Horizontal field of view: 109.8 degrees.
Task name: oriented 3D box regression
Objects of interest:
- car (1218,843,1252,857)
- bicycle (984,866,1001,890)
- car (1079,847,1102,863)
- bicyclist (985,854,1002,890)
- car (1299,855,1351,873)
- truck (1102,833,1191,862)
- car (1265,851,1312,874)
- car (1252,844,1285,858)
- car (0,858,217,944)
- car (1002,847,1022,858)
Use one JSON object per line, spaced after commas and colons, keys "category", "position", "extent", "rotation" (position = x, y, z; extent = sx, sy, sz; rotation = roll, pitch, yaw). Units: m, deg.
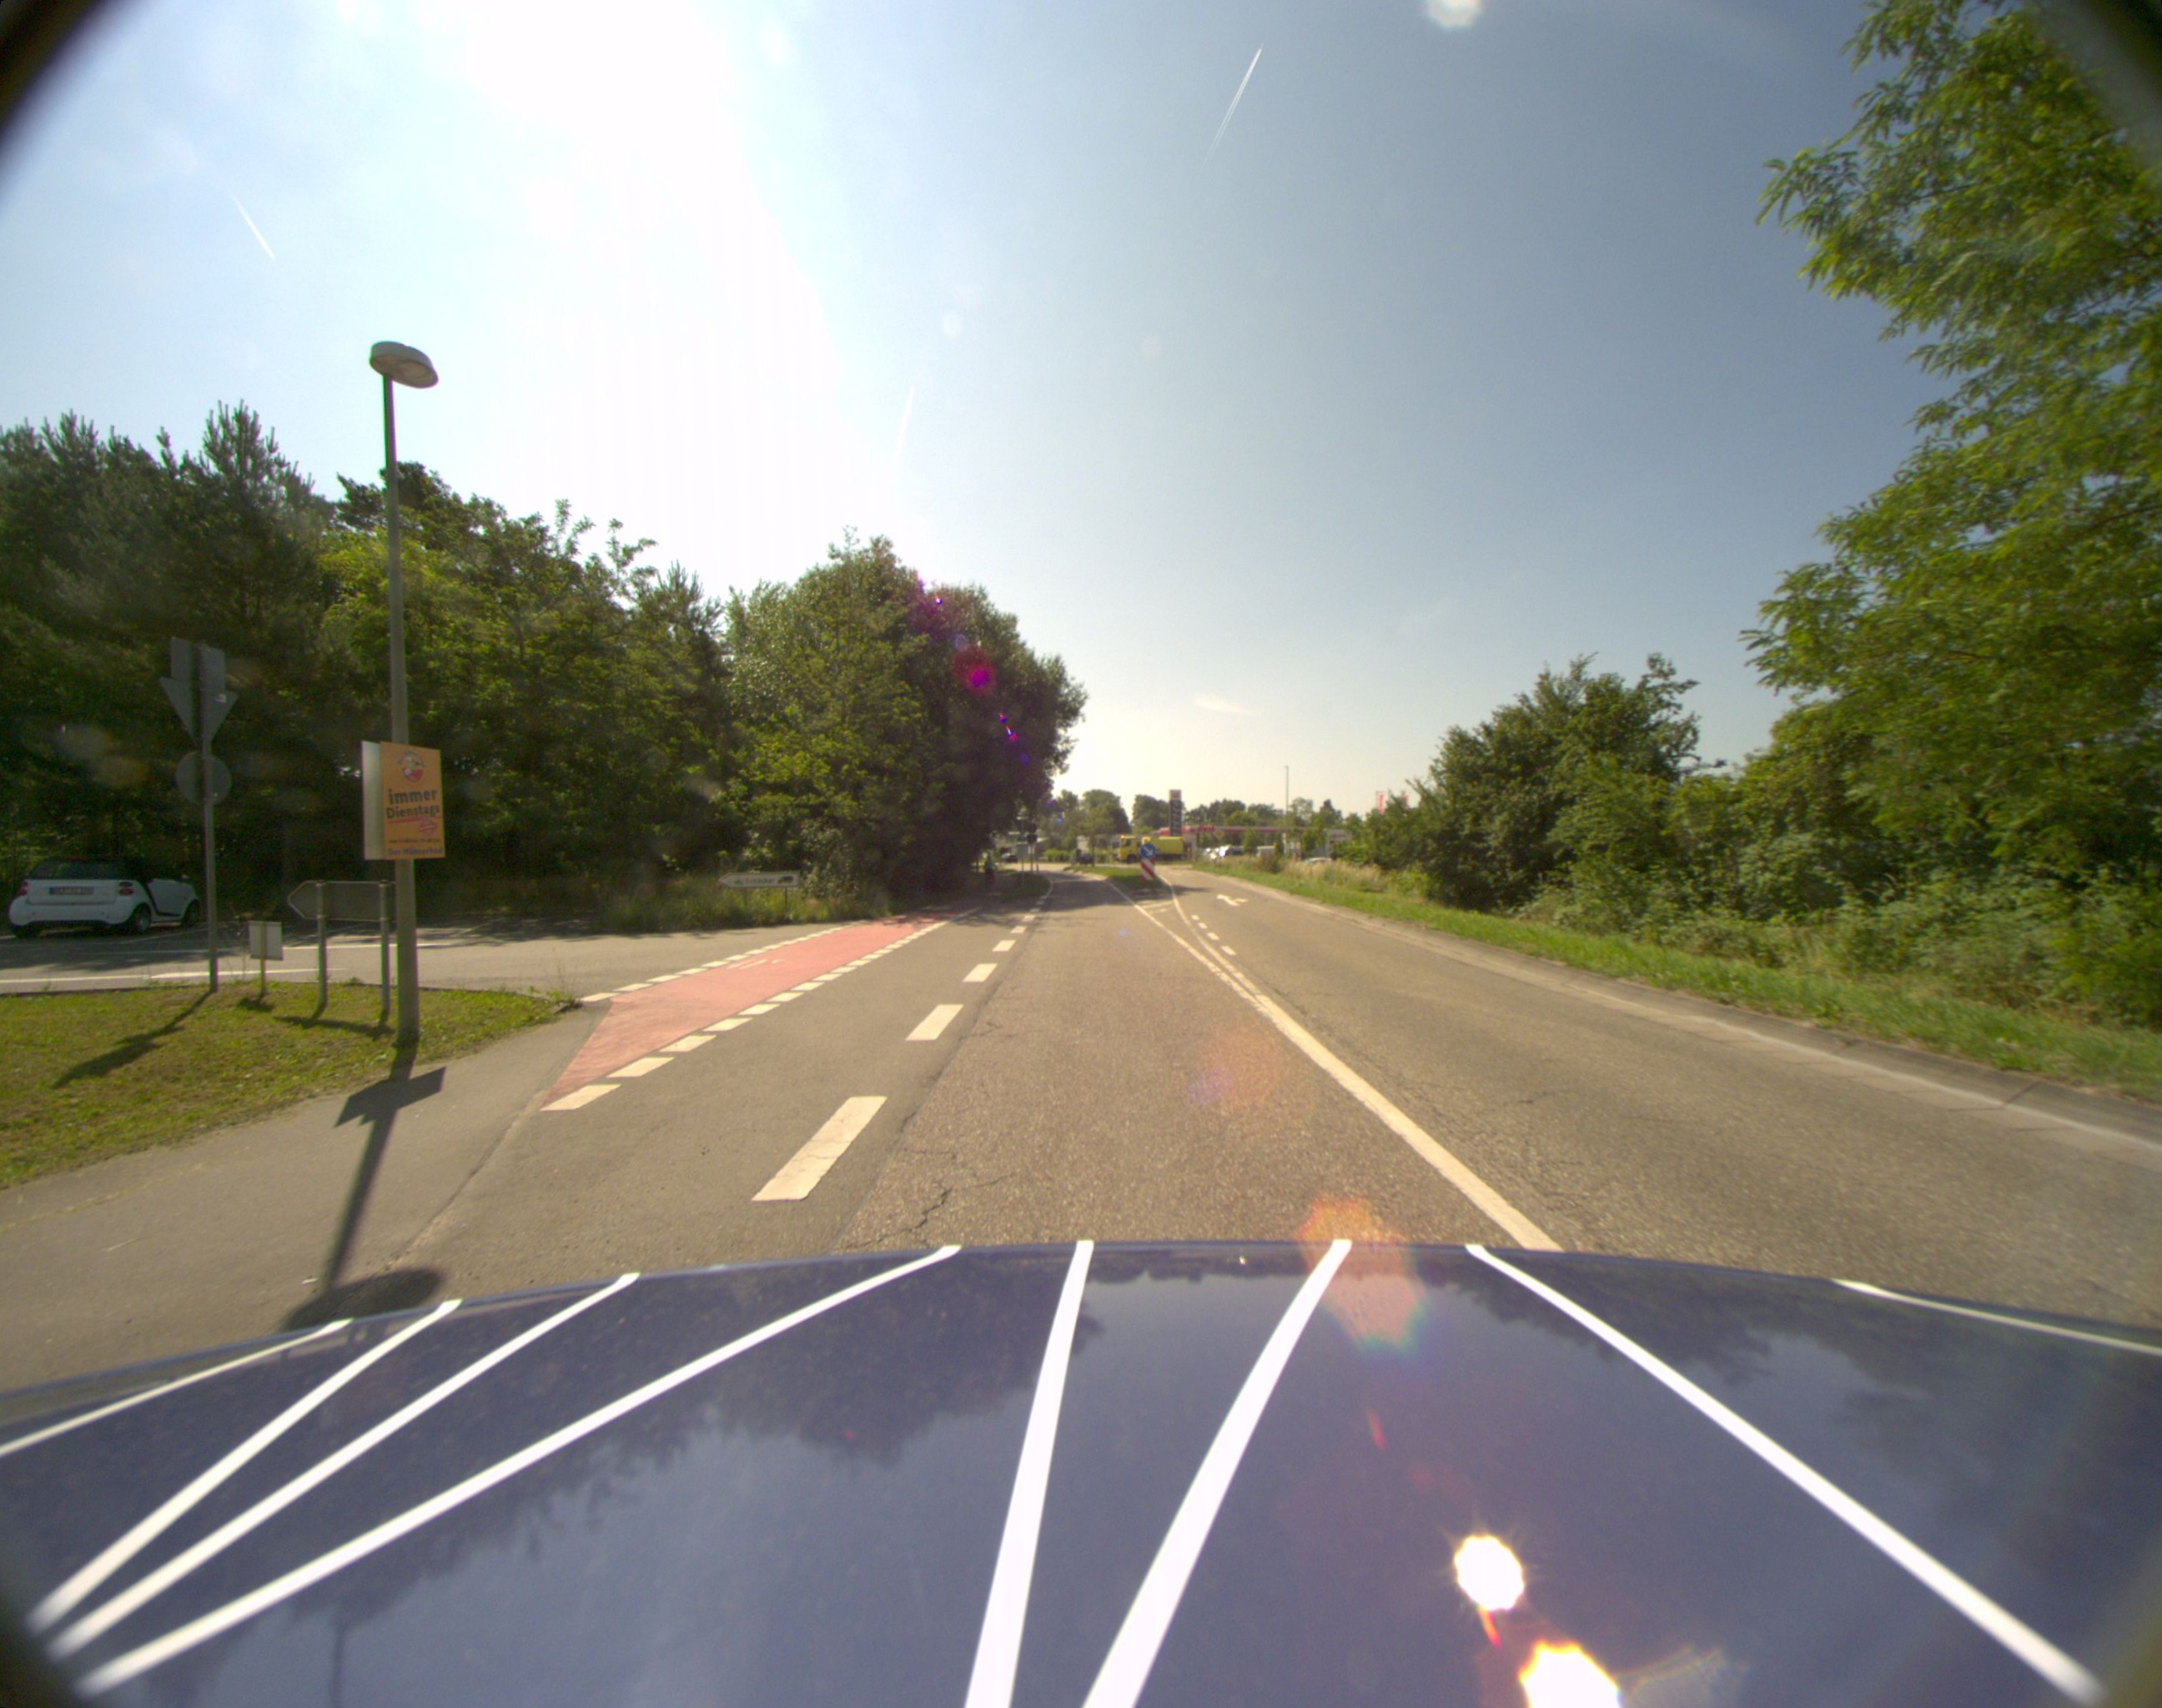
{"category": "car", "position": [20.910, -0.561, 103.306], "extent": [4.004, 1.936, 1.996], "rotation": [0, 1, -20]}
{"category": "bicycle", "position": [-4.335, 1.171, 37.317], "extent": [0.591, 1.117, 1.520], "rotation": [-2, 1, 2]}
{"category": "car", "position": [0.980, 0.097, 80.419], "extent": [1.829, 1.630, 3.834], "rotation": [0, 1, -9]}
{"category": "bicyclist", "position": [-4.330, 0.879, 37.546], "extent": [0.638, 1.720, 0.978], "rotation": [-2, 1, 2]}
{"category": "car", "position": [21.525, 0.860, 67.154], "extent": [3.997, 1.477, 1.999], "rotation": [0, 1, -2]}
{"category": "truck", "position": [7.702, -0.827, 90.904], "extent": [10.333, 3.374, 3.884], "rotation": [0, 1, -1]}
{"category": "car", "position": [19.999, 0.798, 73.407], "extent": [3.997, 2.155, 1.999], "rotation": [0, 1, -2]}
{"category": "car", "position": [26.073, -0.394, 105.610], "extent": [4.004, 1.936, 1.996], "rotation": [0, 1, -20]}
{"category": "car", "position": [-19.253, 0.851, 15.215], "extent": [1.600, 1.510, 2.834], "rotation": [-1, 1, -26]}
{"category": "car", "position": [-10.303, -0.257, 113.378], "extent": [1.831, 1.630, 3.829], "rotation": [0, 1, -23]}
